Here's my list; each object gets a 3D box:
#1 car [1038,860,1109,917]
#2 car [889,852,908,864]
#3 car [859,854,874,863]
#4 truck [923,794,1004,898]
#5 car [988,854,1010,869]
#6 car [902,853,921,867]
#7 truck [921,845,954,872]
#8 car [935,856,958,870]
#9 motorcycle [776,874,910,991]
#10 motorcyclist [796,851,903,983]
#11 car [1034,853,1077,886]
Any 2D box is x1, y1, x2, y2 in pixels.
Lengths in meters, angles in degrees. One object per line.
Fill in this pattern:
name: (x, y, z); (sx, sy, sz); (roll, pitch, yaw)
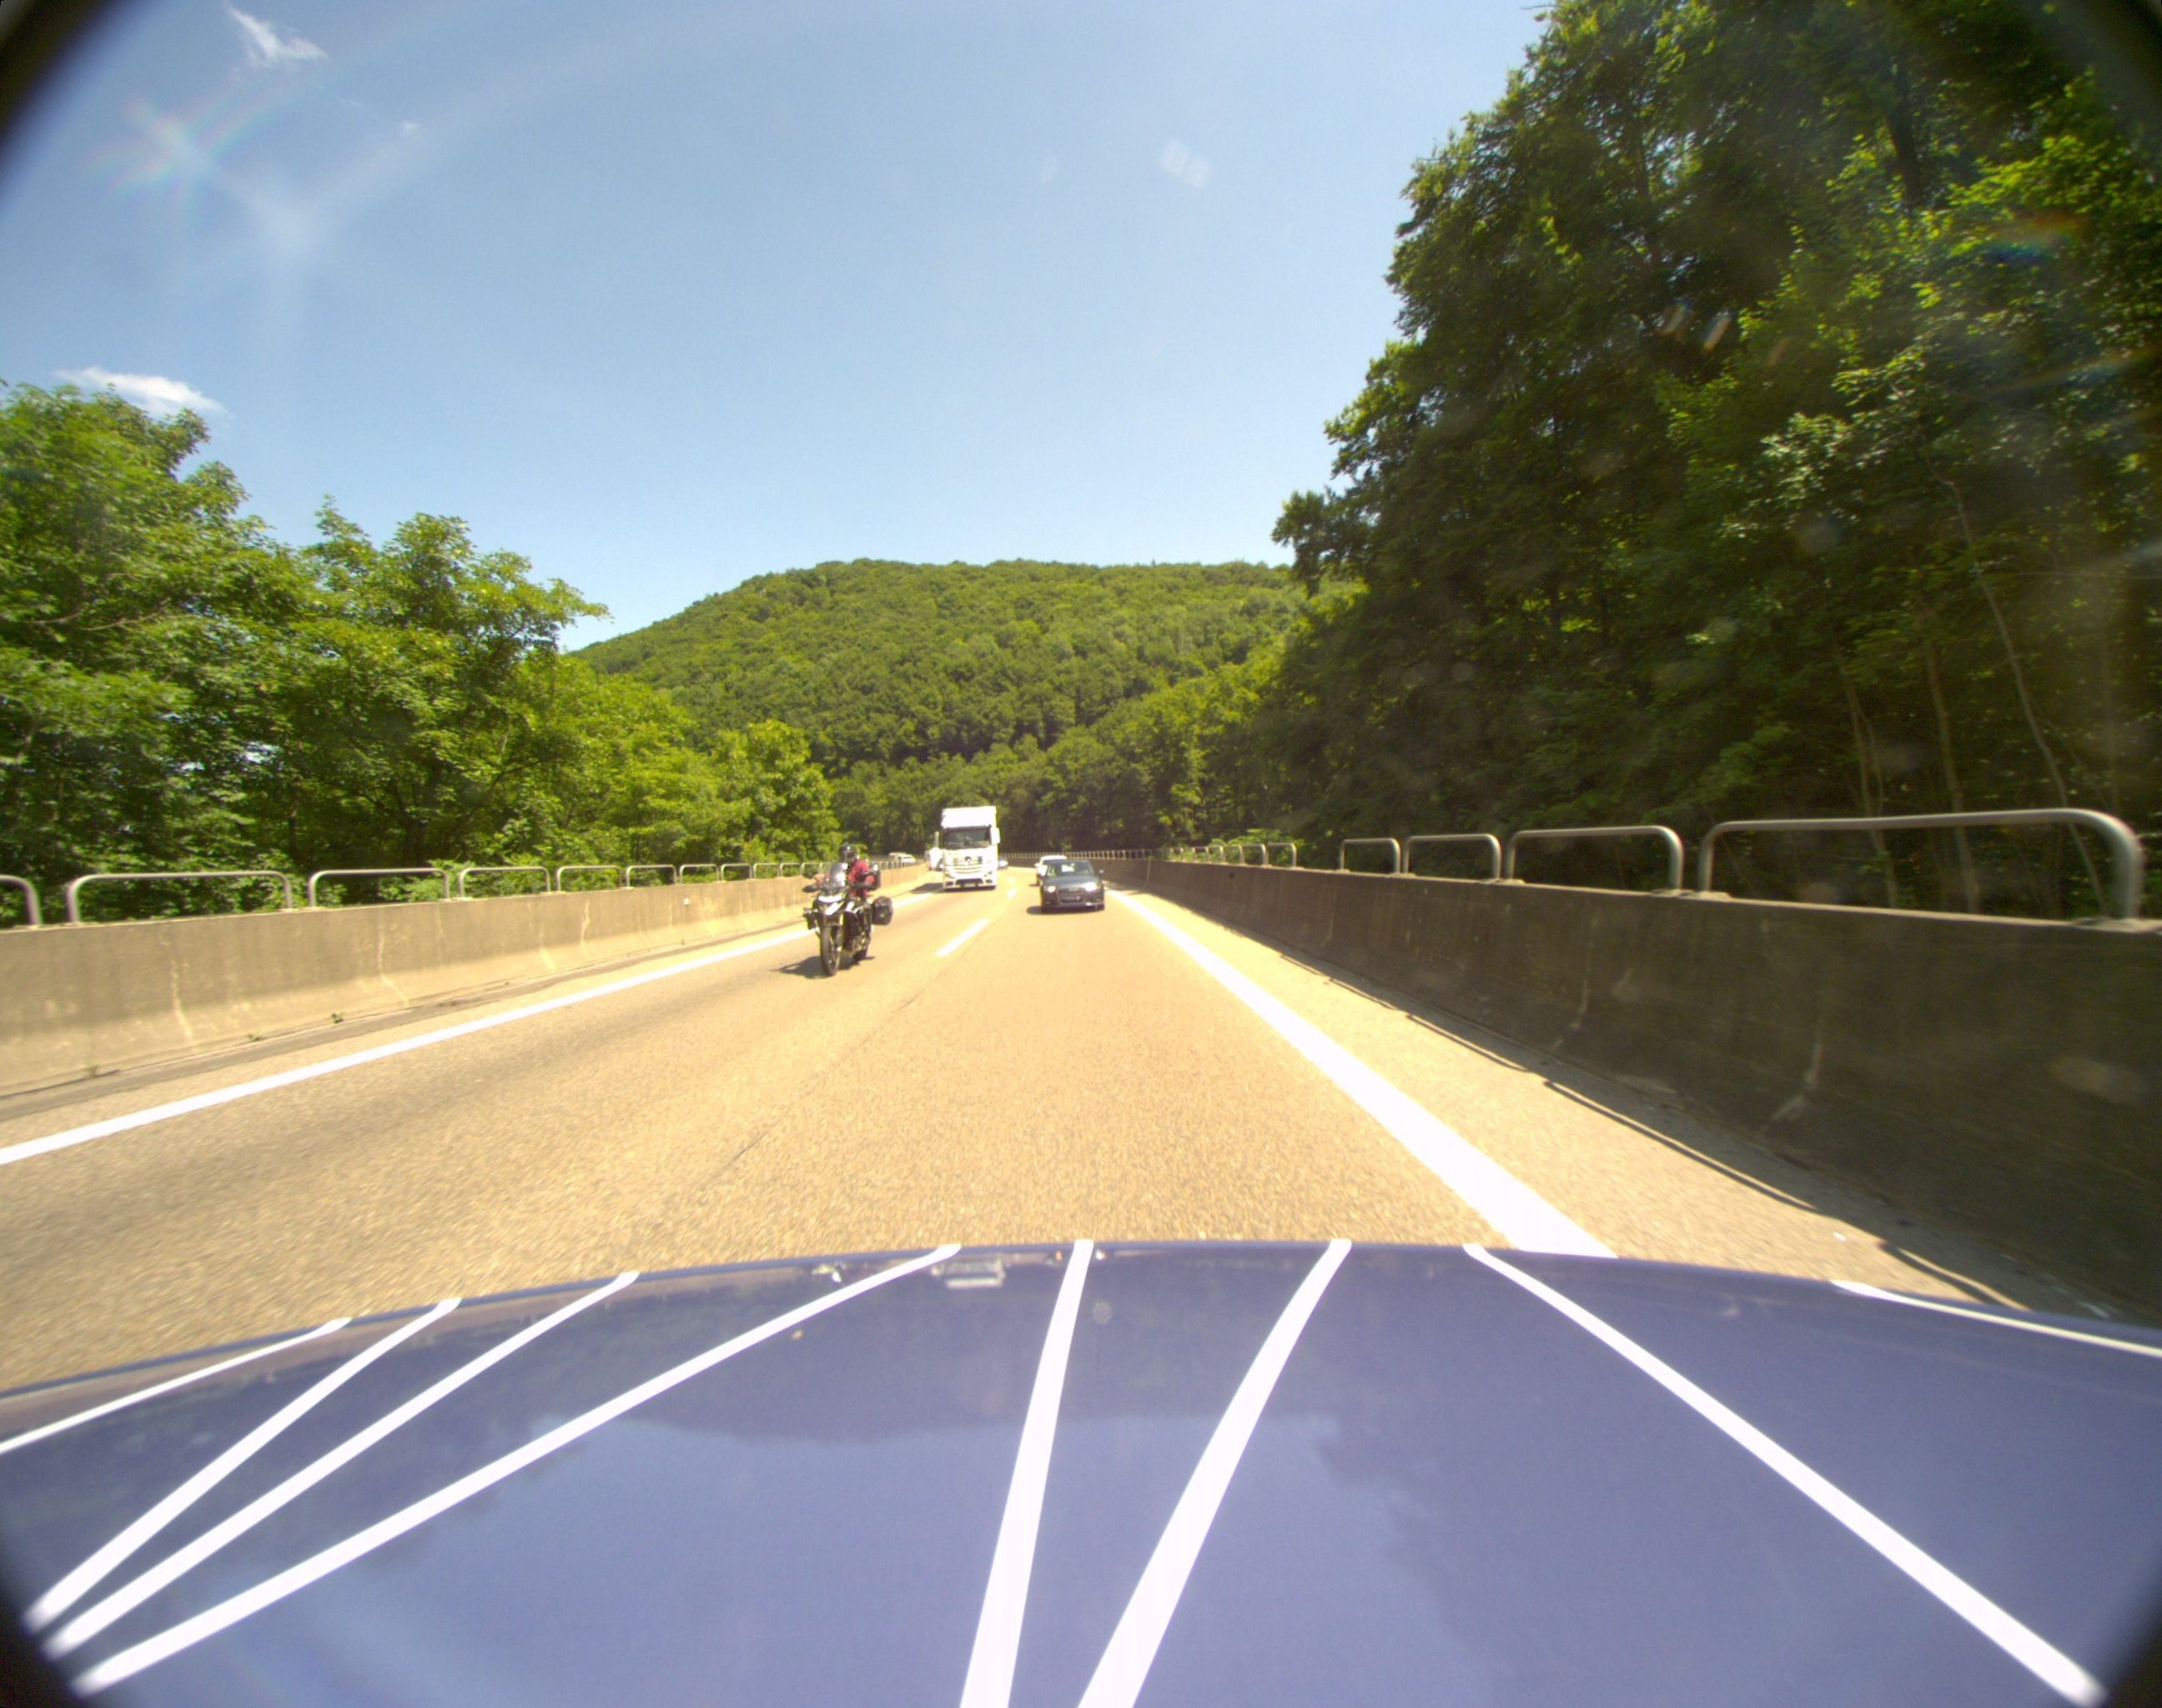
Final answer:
car: (-0.295, 0.884, 21.322); (1.756, 1.350, 4.120); (-1, 0, -3)
car: (-30.084, 0.639, 125.082); (2.003, 2.002, 3.991); (-2, 0, -30)
car: (-45.230, 0.929, 159.993); (2.003, 1.783, 3.991); (-3, 1, -31)
truck: (-5.654, -0.325, 39.373); (2.970, 4.108, 16.698); (-3, 0, -5)
car: (-8.941, 0.806, 82.921); (1.757, 1.480, 3.976); (-1, 0, -16)
car: (-26.471, 0.934, 118.522); (2.003, 2.002, 3.991); (-2, 0, -27)
truck: (-17.705, 0.567, 93.504); (2.621, 3.084, 6.843); (-3, 0, -22)
car: (-15.695, 1.016, 88.451); (1.759, 1.480, 3.974); (-2, 0, -23)
motorcycle: (-3.354, 1.039, 11.084); (0.975, 1.411, 2.681); (-3, -1, 1)
motorcyclist: (-3.361, 0.874, 11.181); (1.063, 1.790, 1.338); (-3, 0, 1)
car: (-1.375, 0.742, 39.104); (1.756, 1.460, 3.979); (-4, 1, -7)
